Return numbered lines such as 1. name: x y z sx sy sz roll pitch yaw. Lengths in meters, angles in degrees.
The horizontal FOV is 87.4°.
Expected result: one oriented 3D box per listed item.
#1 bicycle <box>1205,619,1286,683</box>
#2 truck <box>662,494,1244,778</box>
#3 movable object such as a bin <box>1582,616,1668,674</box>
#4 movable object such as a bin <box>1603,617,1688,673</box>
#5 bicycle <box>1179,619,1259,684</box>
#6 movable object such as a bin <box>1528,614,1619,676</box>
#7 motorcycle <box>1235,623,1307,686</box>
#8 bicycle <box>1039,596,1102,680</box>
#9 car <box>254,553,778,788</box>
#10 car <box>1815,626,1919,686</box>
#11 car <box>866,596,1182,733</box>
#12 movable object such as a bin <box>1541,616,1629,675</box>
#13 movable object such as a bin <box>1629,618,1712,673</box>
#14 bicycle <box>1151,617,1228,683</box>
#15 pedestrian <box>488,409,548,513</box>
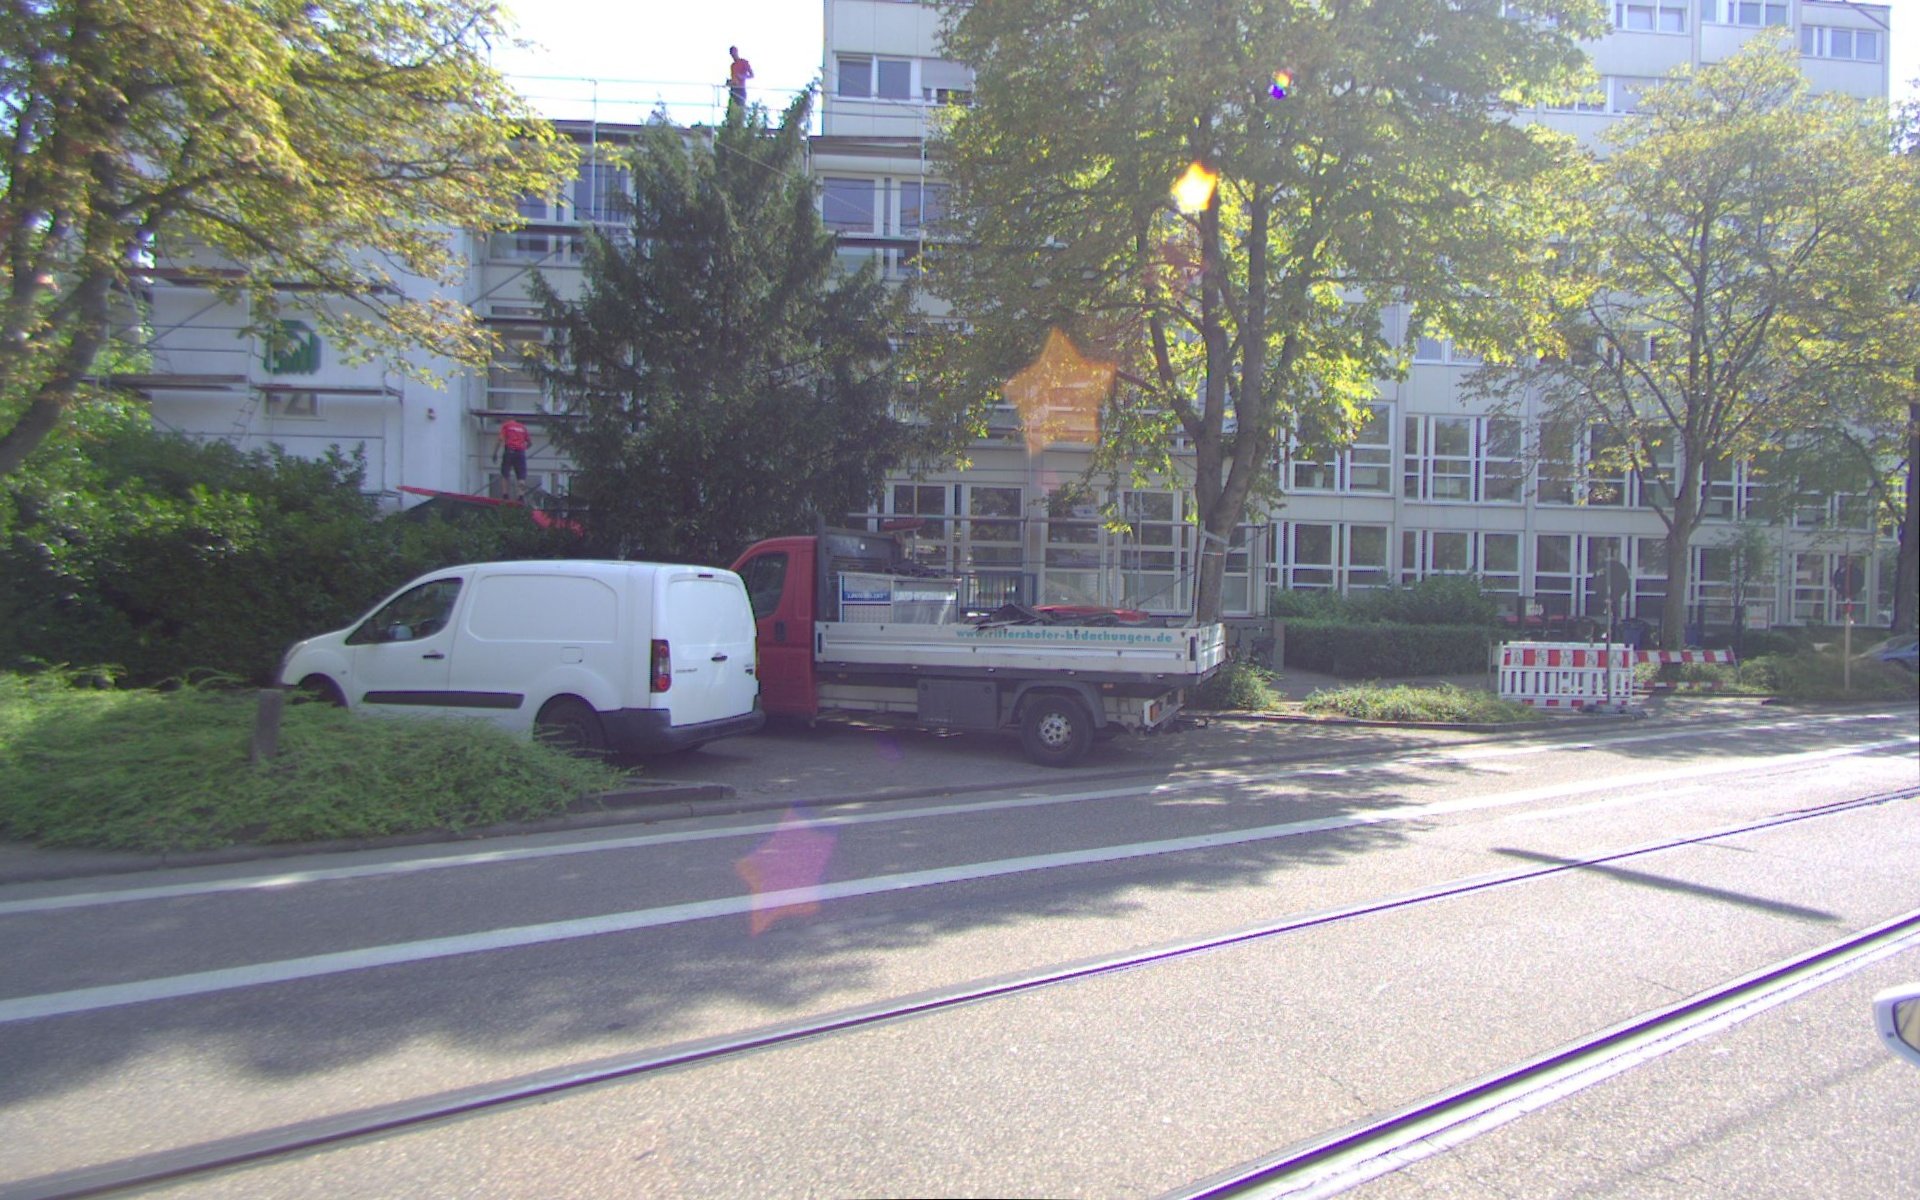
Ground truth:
1. bicycle: 6.036 1.051 21.393 0.552 1.185 2.340 2 1 -13
2. truck: -0.093 0.288 10.796 5.852 2.467 2.150 1 0 21
3. movable object such as a bin: 19.092 1.280 28.862 1.339 1.580 1.674 1 -1 -31
4. movable object such as a bin: 20.324 1.306 29.805 1.339 1.580 1.674 1 -1 -31
5. bicycle: 5.438 1.054 21.239 0.611 1.185 2.340 2 1 -12
6. movable object such as a bin: 16.570 1.199 27.135 1.339 1.580 1.674 1 -1 -31
7. motorcycle: 6.661 1.155 21.632 0.683 1.198 1.842 2 1 -10
8. bicycle: 2.220 0.733 20.522 0.591 1.546 2.341 2 1 -10
9. car: -3.995 0.524 9.191 4.200 1.795 1.826 1 0 17
10. car: 24.976 1.414 25.578 4.593 1.471 1.677 0 0 13
11. car: 0.877 0.765 13.030 3.783 1.528 1.721 1 -1 17
12. movable object such as a bin: 17.565 1.249 28.253 1.339 1.580 1.674 1 -1 -31
13. movable object such as a bin: 21.587 1.360 30.534 1.339 1.580 1.674 1 -1 -31
14. bicycle: 4.778 1.013 21.064 0.611 1.185 2.340 2 1 -12
15. pedestrian: -8.069 -2.523 18.377 0.836 1.749 0.749 2 0 -14
